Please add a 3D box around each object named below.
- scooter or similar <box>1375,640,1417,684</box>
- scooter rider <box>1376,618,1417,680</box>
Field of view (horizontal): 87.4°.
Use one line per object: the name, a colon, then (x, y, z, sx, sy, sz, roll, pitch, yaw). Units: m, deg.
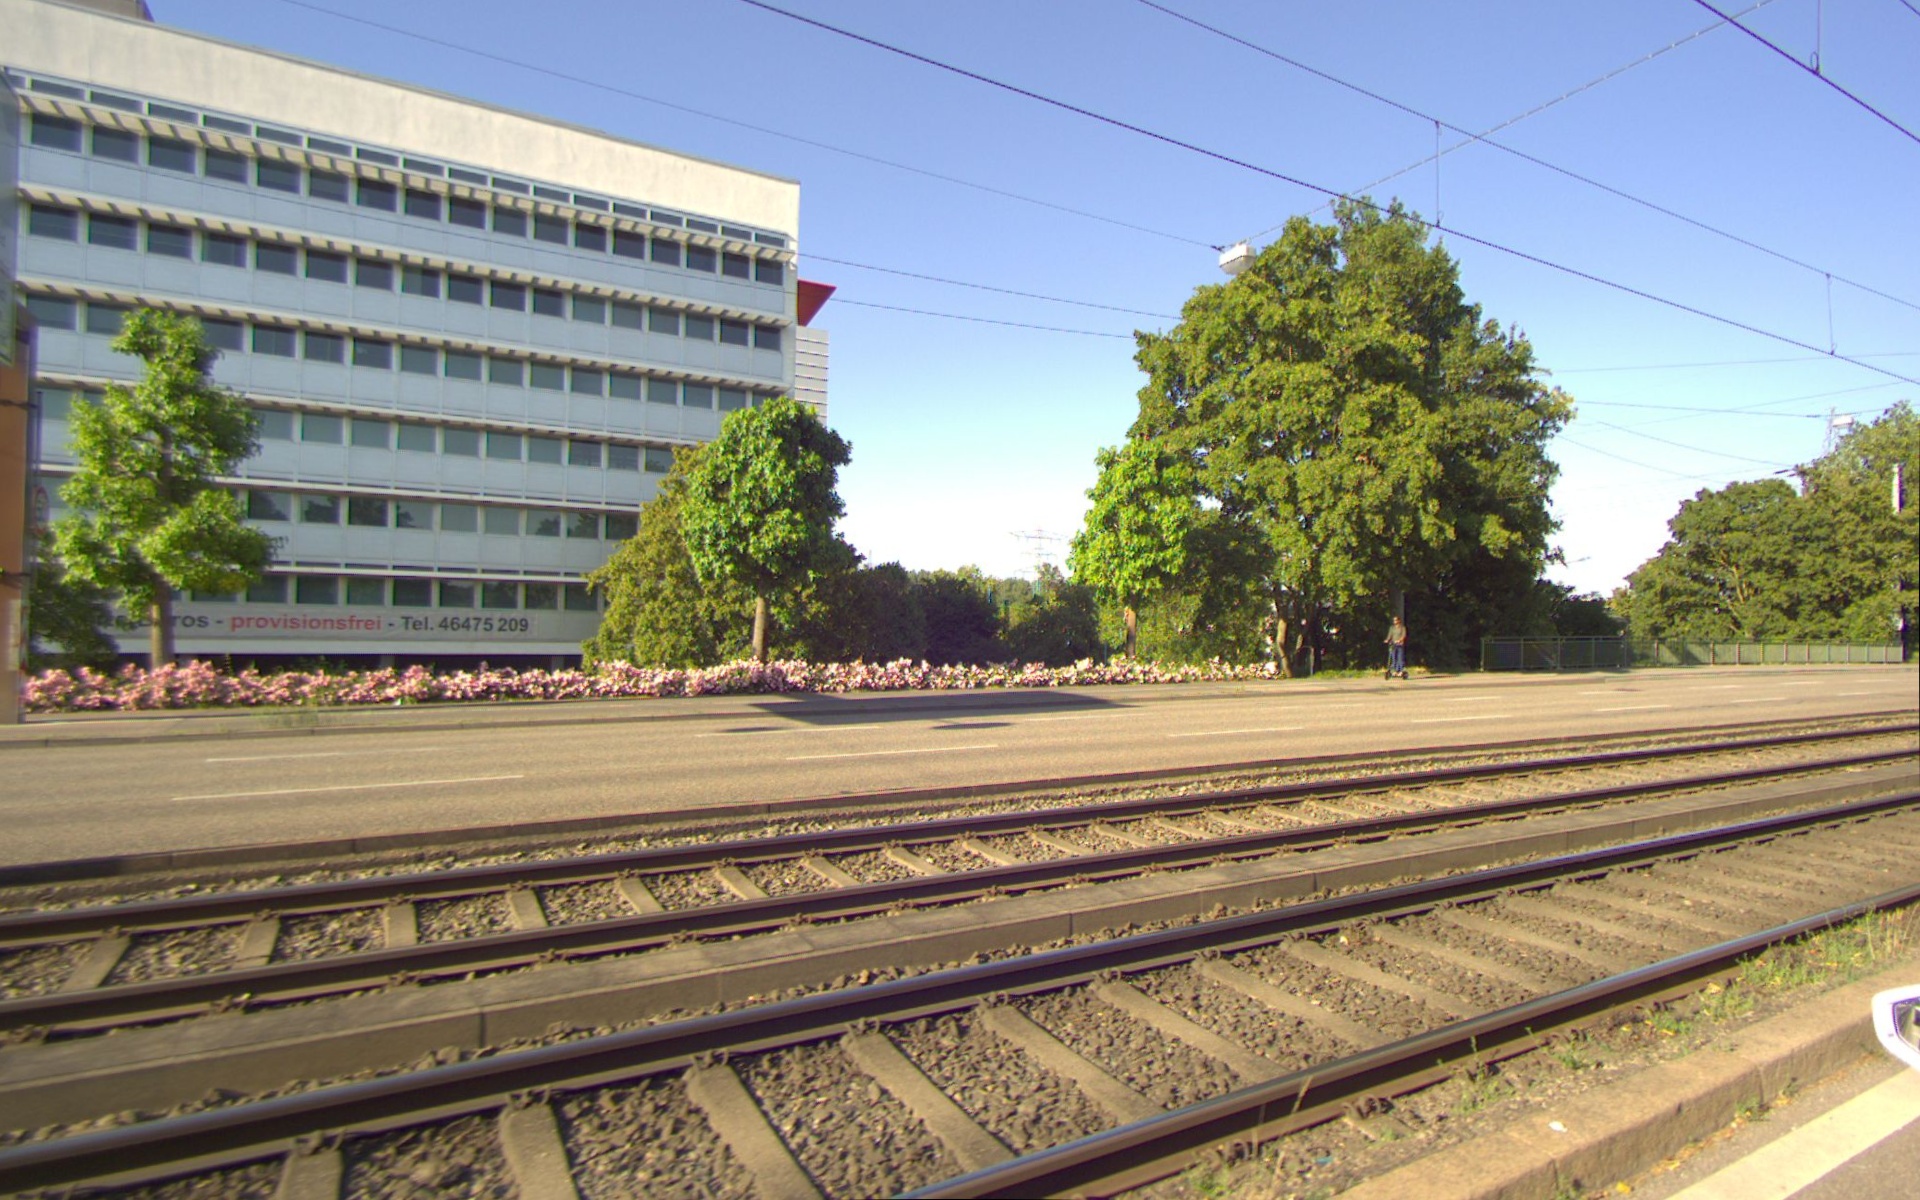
scooter or similar: (13.463, 1.910, 30.980, 1.245, 1.313, 0.470, 1, -1, -24)
scooter rider: (13.466, 1.505, 31.017, 0.986, 1.873, 0.680, 1, -1, -23)
